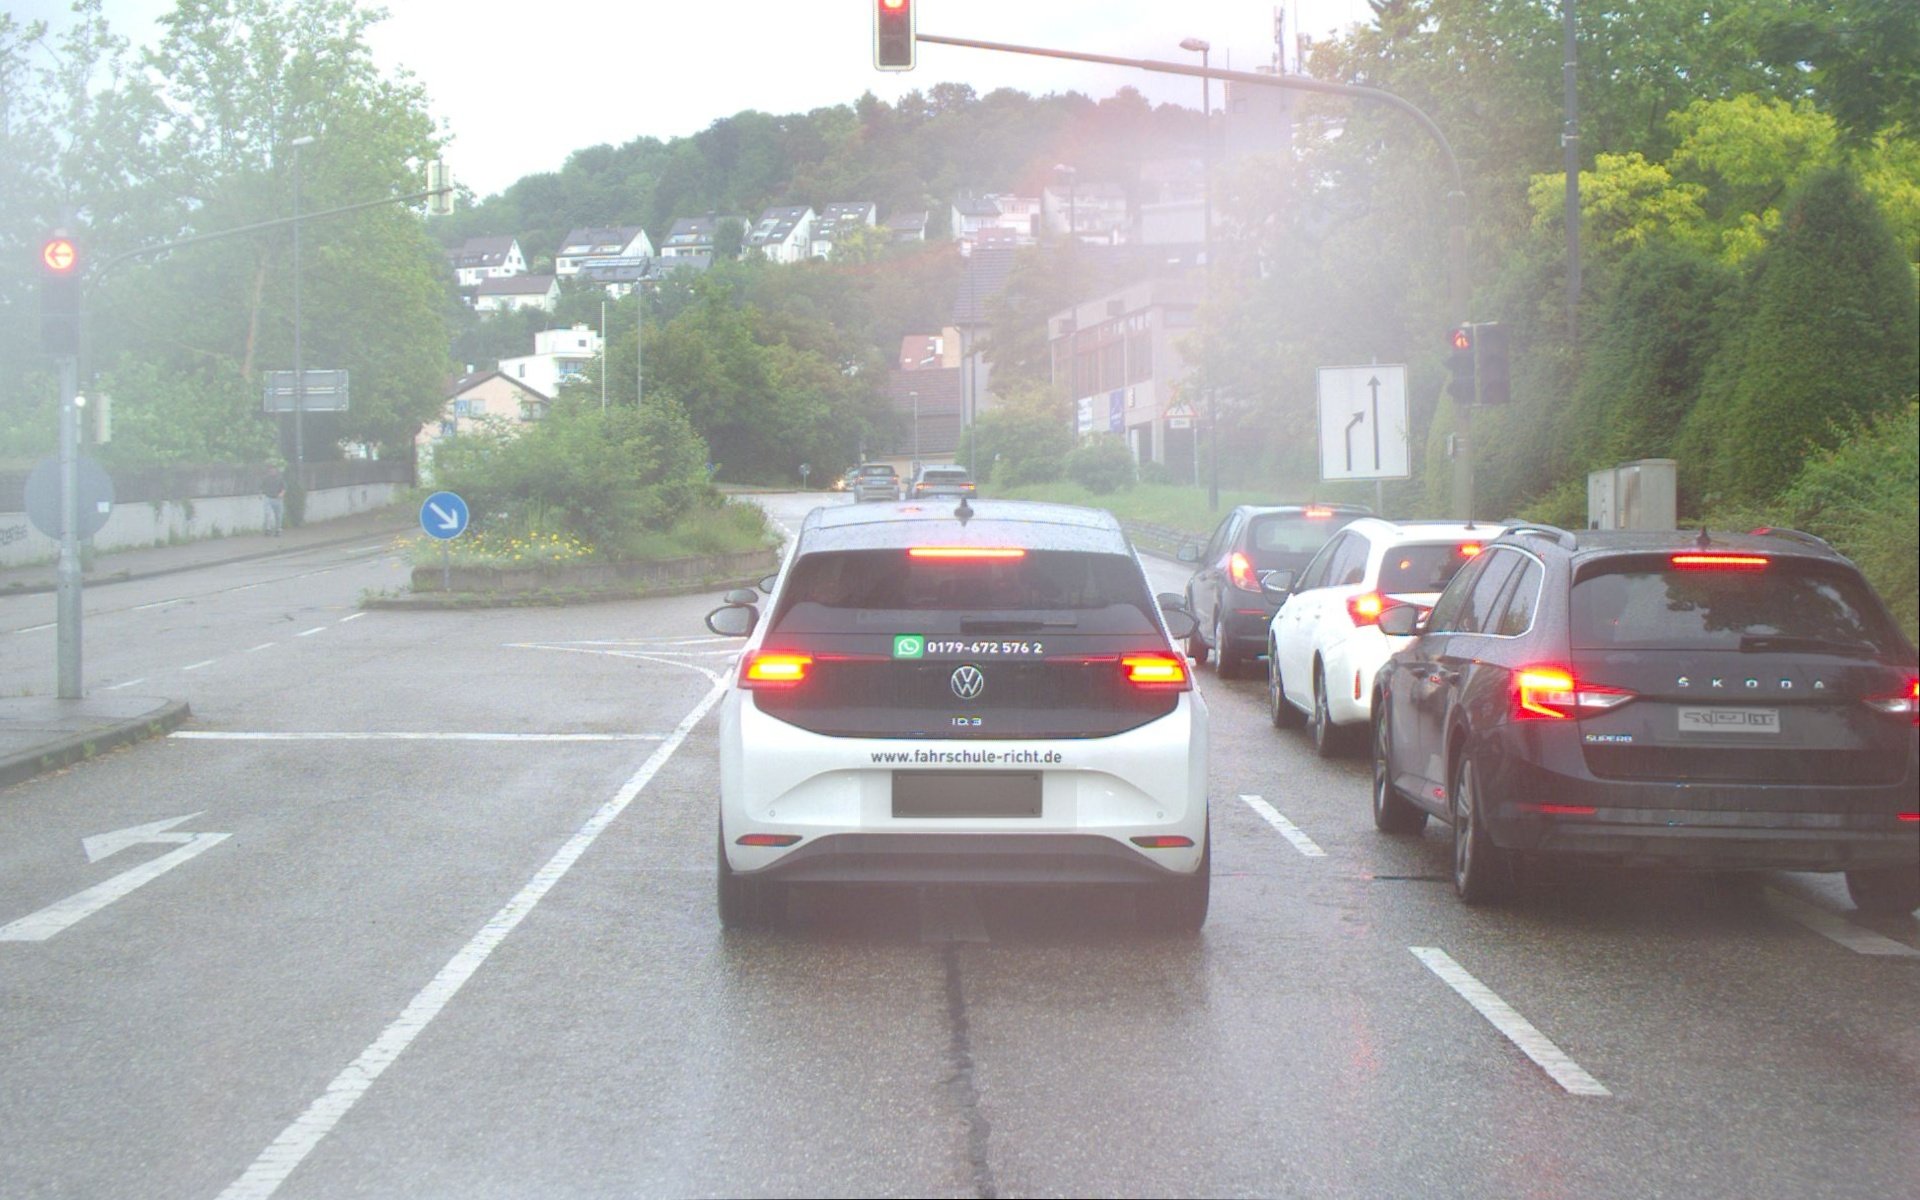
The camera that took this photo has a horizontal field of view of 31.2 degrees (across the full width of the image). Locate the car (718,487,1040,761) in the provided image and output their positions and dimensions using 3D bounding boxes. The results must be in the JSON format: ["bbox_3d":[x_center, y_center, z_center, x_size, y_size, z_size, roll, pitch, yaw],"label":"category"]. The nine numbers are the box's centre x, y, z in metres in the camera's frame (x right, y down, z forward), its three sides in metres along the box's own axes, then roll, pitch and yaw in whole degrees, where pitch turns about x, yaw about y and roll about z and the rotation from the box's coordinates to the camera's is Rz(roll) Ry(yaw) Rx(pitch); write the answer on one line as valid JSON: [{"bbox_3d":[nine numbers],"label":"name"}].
[{"bbox_3d":[-0.505,0.073,22.079,1.837,1.549,4.175,1,2,-1],"label":"car"}]

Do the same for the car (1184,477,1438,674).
[{"bbox_3d":[3.015,-0.245,30.249,1.775,1.575,4.000,1,1,0],"label":"car"}]

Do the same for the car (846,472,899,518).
[{"bbox_3d":[-3.165,-3.806,125.255,1.775,1.575,4.000,-2,1,0],"label":"car"}]

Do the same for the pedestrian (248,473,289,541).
[{"bbox_3d":[-16.382,-2.202,81.473,0.760,1.562,0.825,-2,1,-1],"label":"pedestrian"}]

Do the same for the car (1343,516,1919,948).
[{"bbox_3d":[2.815,0.420,14.364,1.837,1.461,4.350,1,2,-1],"label":"car"}]

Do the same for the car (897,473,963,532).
[{"bbox_3d":[-0.841,-2.720,96.597,1.775,1.575,4.000,-2,1,0],"label":"car"}]

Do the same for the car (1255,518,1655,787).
[{"bbox_3d":[3.021,0.255,21.827,1.837,1.461,4.117,1,2,-1],"label":"car"}]

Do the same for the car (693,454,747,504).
[{"bbox_3d":[-10.258,-5.175,147.266,1.993,2.007,4.000,1,0,0],"label":"car"}]

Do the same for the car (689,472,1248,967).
[{"bbox_3d":[-0.011,0.328,13.845,1.837,1.623,4.616,1,2,-1],"label":"car"}]

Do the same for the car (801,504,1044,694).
[{"bbox_3d":[-0.322,-0.060,28.370,1.837,1.395,3.831,1,2,-1],"label":"car"}]
